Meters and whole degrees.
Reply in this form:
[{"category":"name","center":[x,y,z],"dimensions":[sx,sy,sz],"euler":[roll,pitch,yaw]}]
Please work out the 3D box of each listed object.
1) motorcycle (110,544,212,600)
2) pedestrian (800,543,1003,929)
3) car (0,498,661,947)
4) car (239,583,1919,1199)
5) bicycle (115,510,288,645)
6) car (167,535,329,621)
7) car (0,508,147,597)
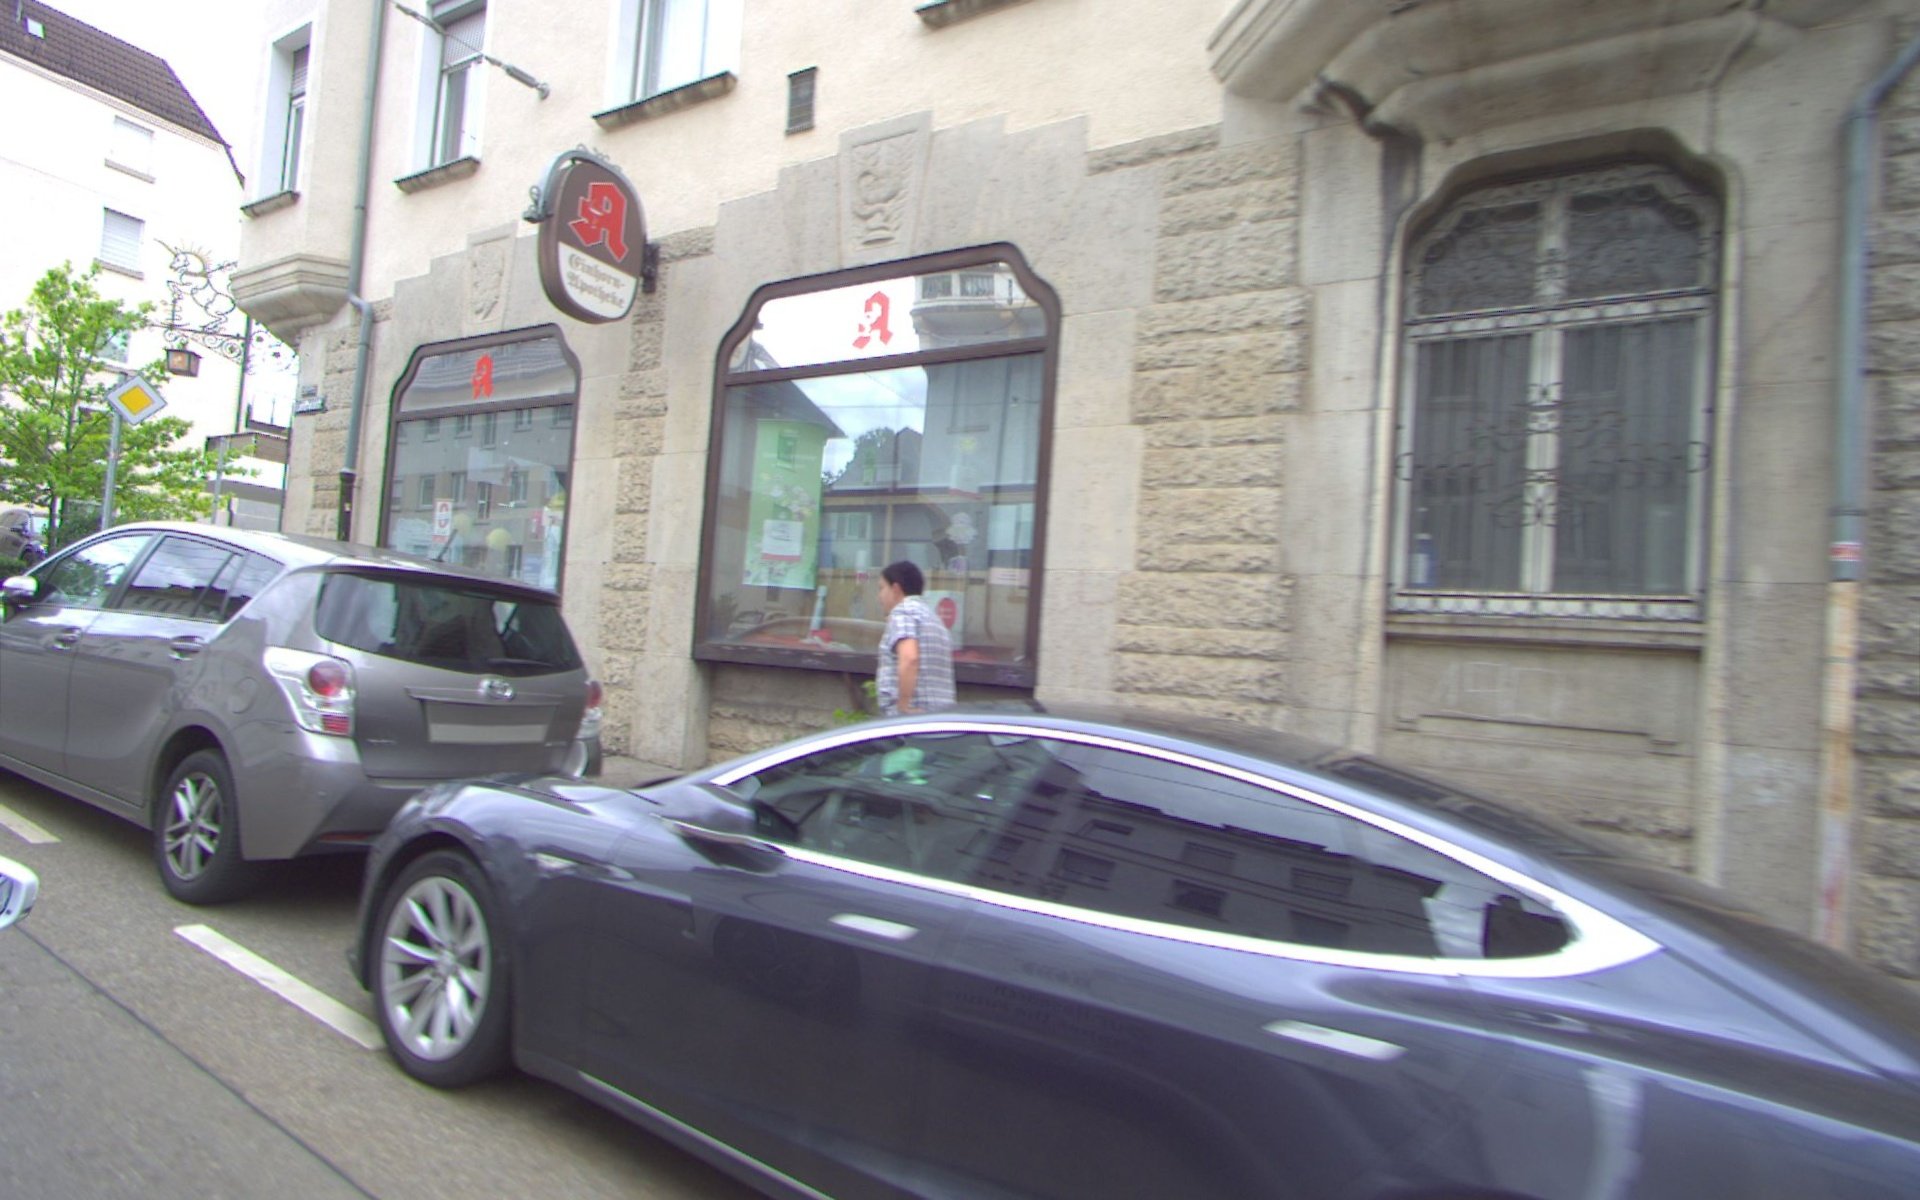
[{"category":"motorcycle","center":[-18.134,-0.637,22.829],"dimensions":[2.346,1.116,0.929],"euler":[2,-5,30]},{"category":"pedestrian","center":[-0.296,0.670,5.239],"dimensions":[0.621,1.824,0.600],"euler":[6,-1,31]},{"category":"car","center":[-4.047,0.423,5.651],"dimensions":[4.496,1.553,1.741],"euler":[6,-4,29]},{"category":"car","center":[0.037,0.970,3.072],"dimensions":[4.613,1.405,1.785],"euler":[6,-4,30]},{"category":"bicycle","center":[-12.333,-0.271,16.536],"dimensions":[1.165,1.885,2.723],"euler":[8,-4,-16]},{"category":"car","center":[-21.031,-0.674,29.691],"dimensions":[4.624,1.933,1.998],"euler":[6,-2,30]},{"category":"car","center":[-22.570,-1.257,24.902],"dimensions":[5.009,1.702,1.999],"euler":[6,-2,30]}]
